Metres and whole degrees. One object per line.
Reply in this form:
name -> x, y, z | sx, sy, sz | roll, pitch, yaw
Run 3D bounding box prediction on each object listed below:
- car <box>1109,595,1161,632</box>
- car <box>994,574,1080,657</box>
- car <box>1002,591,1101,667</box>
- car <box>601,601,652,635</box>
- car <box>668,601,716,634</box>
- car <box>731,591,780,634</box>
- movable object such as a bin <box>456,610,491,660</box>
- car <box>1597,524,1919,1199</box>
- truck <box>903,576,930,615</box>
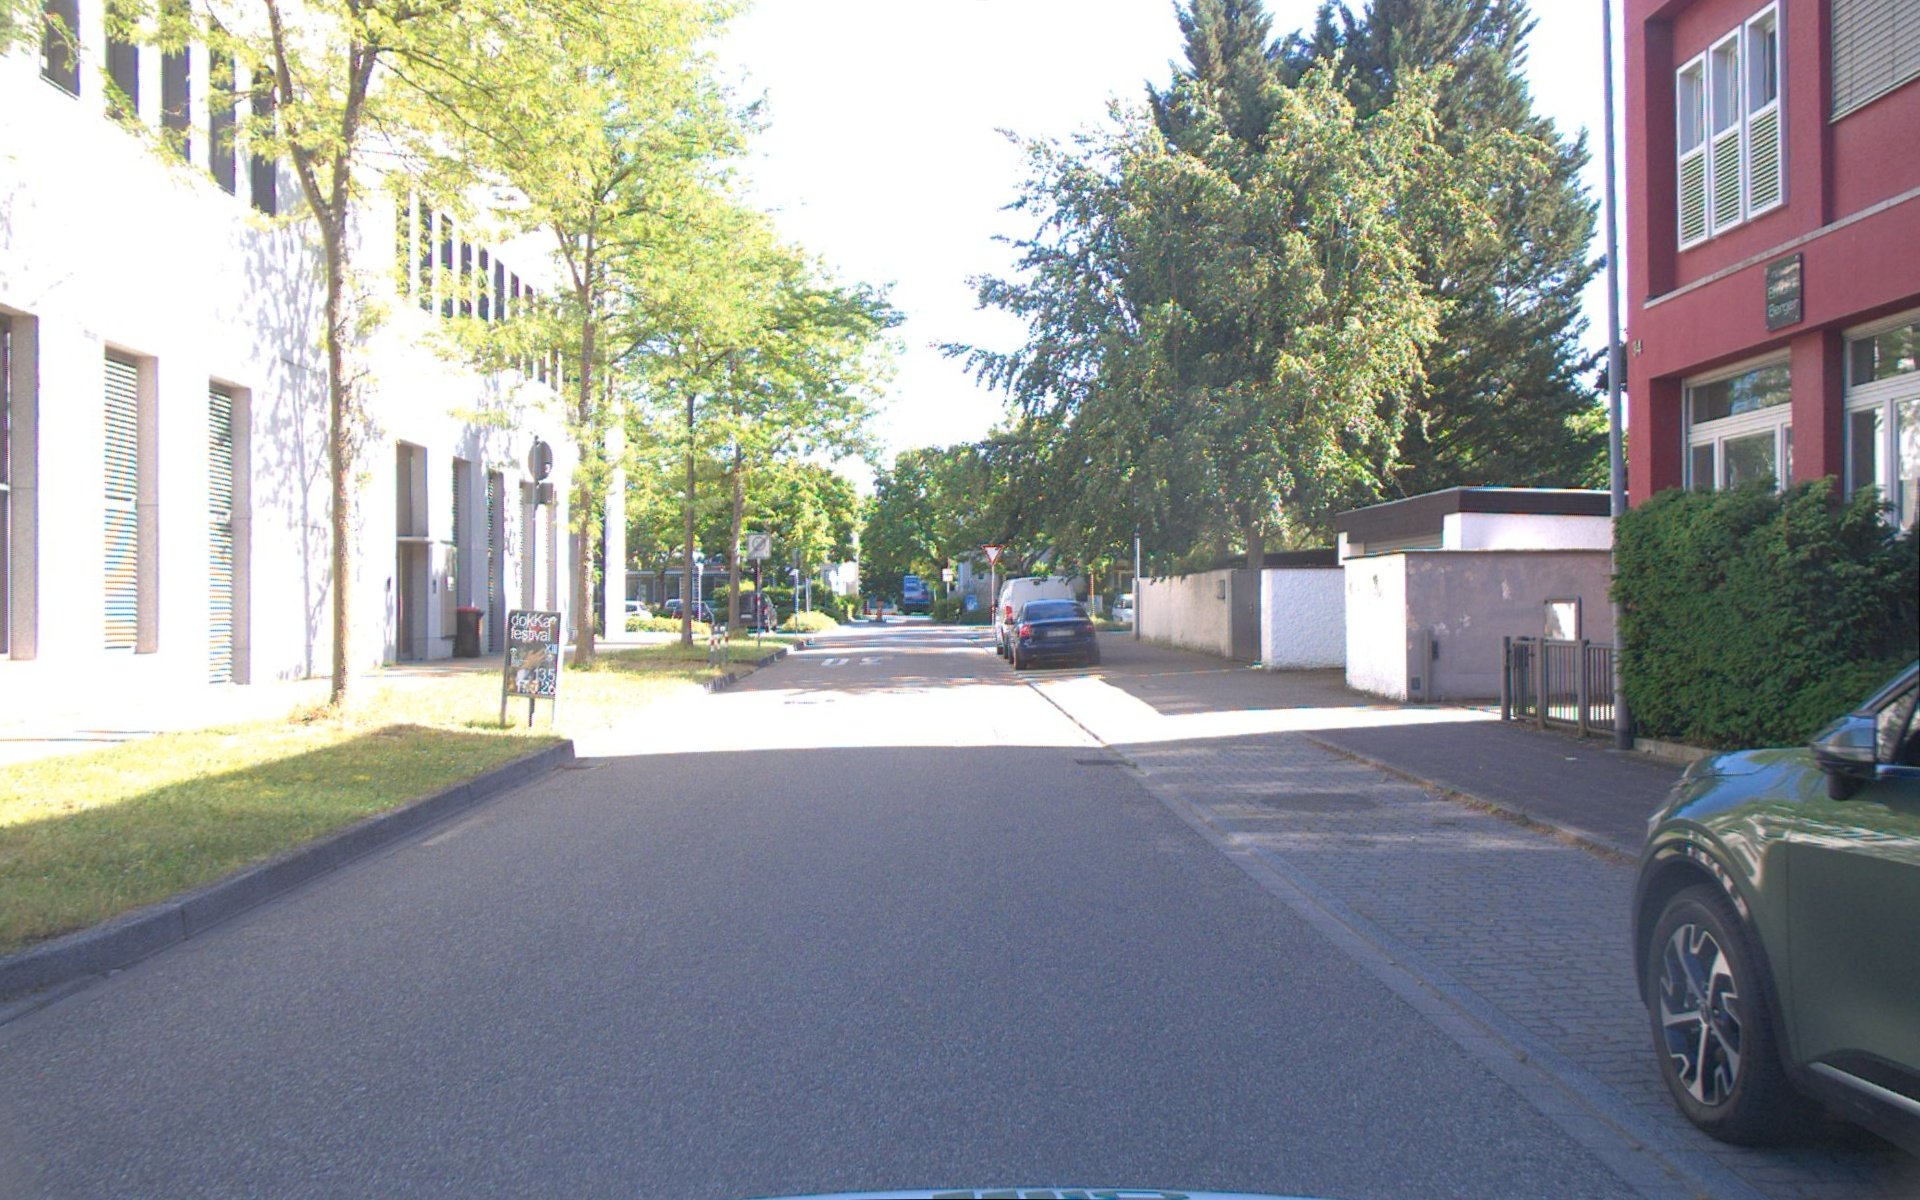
car -> 8.244, 0.626, 78.334 | 1.787, 1.626, 4.166 | -1, 1, -3
car -> 1.902, 0.367, 42.137 | 1.860, 1.947, 5.147 | -1, 0, -1
car -> 1.927, 0.595, 35.869 | 1.789, 1.448, 4.282 | -3, 0, -1
car -> -15.587, 0.811, 77.480 | 1.767, 1.461, 3.910 | 0, 1, -3
car -> -12.514, 0.806, 77.492 | 1.787, 1.430, 4.166 | -1, 1, -3
car -> -9.582, 0.553, 77.743 | 1.836, 1.879, 4.167 | -1, 1, -2
movable object such as a bin -> -10.473, 0.751, 35.620 | 0.581, 1.058, 0.543 | 1, 0, -3
car -> 3.061, 0.645, 3.257 | 1.860, 1.658, 4.371 | -1, 0, -1
truck -> -4.547, -0.429, 172.627 | 2.704, 3.937, 9.327 | 1, 0, -1
